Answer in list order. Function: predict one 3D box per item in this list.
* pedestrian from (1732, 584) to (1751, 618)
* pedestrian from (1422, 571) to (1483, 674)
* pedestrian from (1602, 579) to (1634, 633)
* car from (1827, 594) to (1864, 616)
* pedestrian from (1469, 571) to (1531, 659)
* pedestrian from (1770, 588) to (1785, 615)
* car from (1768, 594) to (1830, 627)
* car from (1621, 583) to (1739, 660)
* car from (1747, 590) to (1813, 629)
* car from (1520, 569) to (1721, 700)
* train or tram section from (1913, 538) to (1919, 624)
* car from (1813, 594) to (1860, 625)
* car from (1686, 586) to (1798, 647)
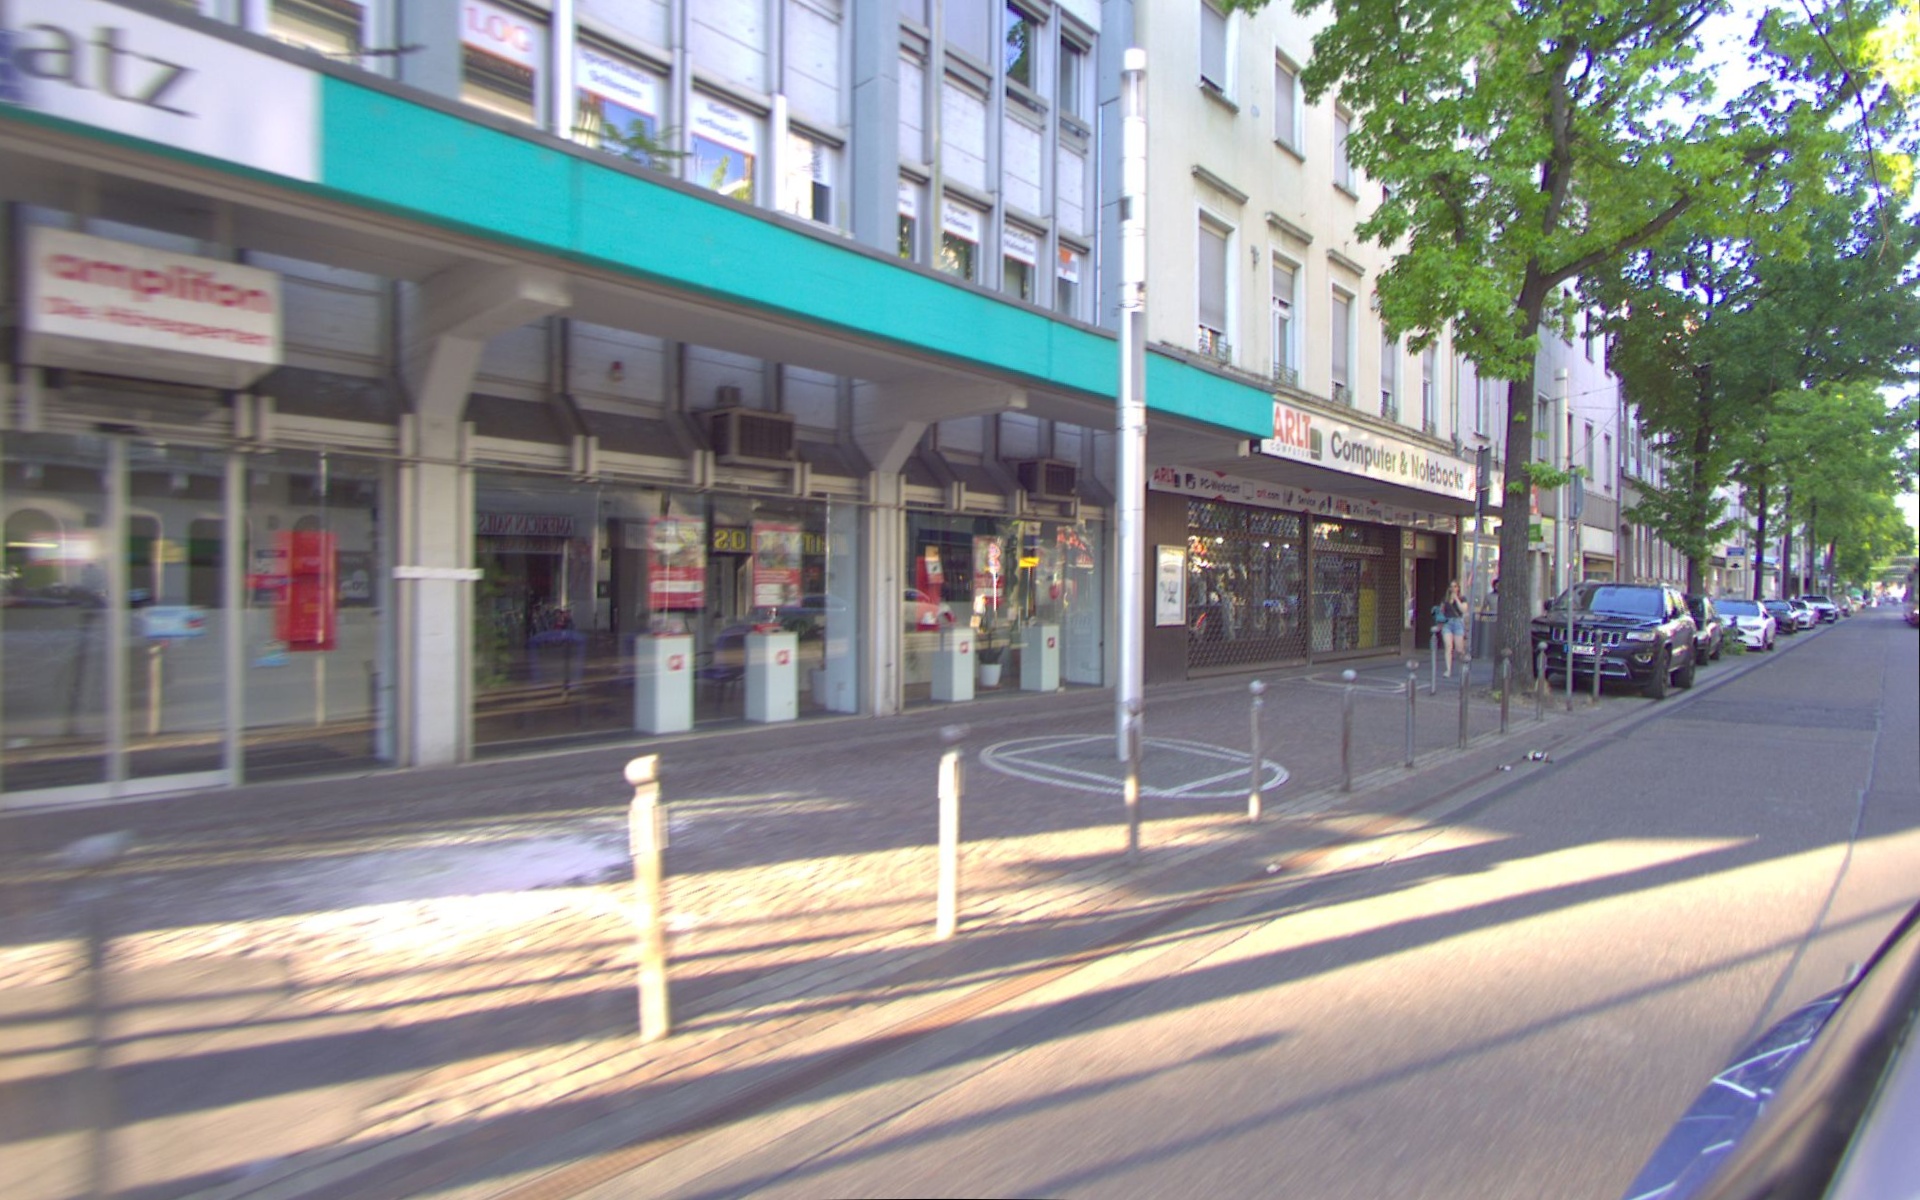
[{"bbox_3d":[45.077,0.058,58.361,0.713,1.910,1.036,2,1,44],"label":"pedestrian"},{"bbox_3d":[8.454,0.378,17.370,0.643,1.690,0.774,5,3,44],"label":"pedestrian"},{"bbox_3d":[21.214,0.184,32.603,0.658,1.685,0.874,4,2,43],"label":"pedestrian"},{"bbox_3d":[73.823,0.409,84.334,4.243,1.815,1.954,0,0,-43],"label":"car"},{"bbox_3d":[11.410,0.301,21.381,0.858,1.774,0.918,5,3,44],"label":"pedestrian"},{"bbox_3d":[49.606,0.082,61.400,0.649,1.593,0.786,0,0,44],"label":"pedestrian"},{"bbox_3d":[40.452,0.463,48.755,1.913,1.438,4.810,4,3,44],"label":"car"},{"bbox_3d":[17.432,0.459,24.436,1.777,1.610,3.831,5,4,43],"label":"car"},{"bbox_3d":[34.669,0.358,42.752,1.833,1.496,4.688,3,3,43],"label":"car"},{"bbox_3d":[11.123,0.472,16.884,1.939,1.780,4.606,6,4,43],"label":"car"},{"bbox_3d":[51.555,-0.840,52.065,3.598,4.048,15.467,1,0,43],"label":"train or tram section"},{"bbox_3d":[52.955,0.535,61.205,1.996,1.708,4.895,3,3,40],"label":"car"},{"bbox_3d":[22.827,0.445,29.474,1.995,1.516,4.605,5,3,44],"label":"car"}]
